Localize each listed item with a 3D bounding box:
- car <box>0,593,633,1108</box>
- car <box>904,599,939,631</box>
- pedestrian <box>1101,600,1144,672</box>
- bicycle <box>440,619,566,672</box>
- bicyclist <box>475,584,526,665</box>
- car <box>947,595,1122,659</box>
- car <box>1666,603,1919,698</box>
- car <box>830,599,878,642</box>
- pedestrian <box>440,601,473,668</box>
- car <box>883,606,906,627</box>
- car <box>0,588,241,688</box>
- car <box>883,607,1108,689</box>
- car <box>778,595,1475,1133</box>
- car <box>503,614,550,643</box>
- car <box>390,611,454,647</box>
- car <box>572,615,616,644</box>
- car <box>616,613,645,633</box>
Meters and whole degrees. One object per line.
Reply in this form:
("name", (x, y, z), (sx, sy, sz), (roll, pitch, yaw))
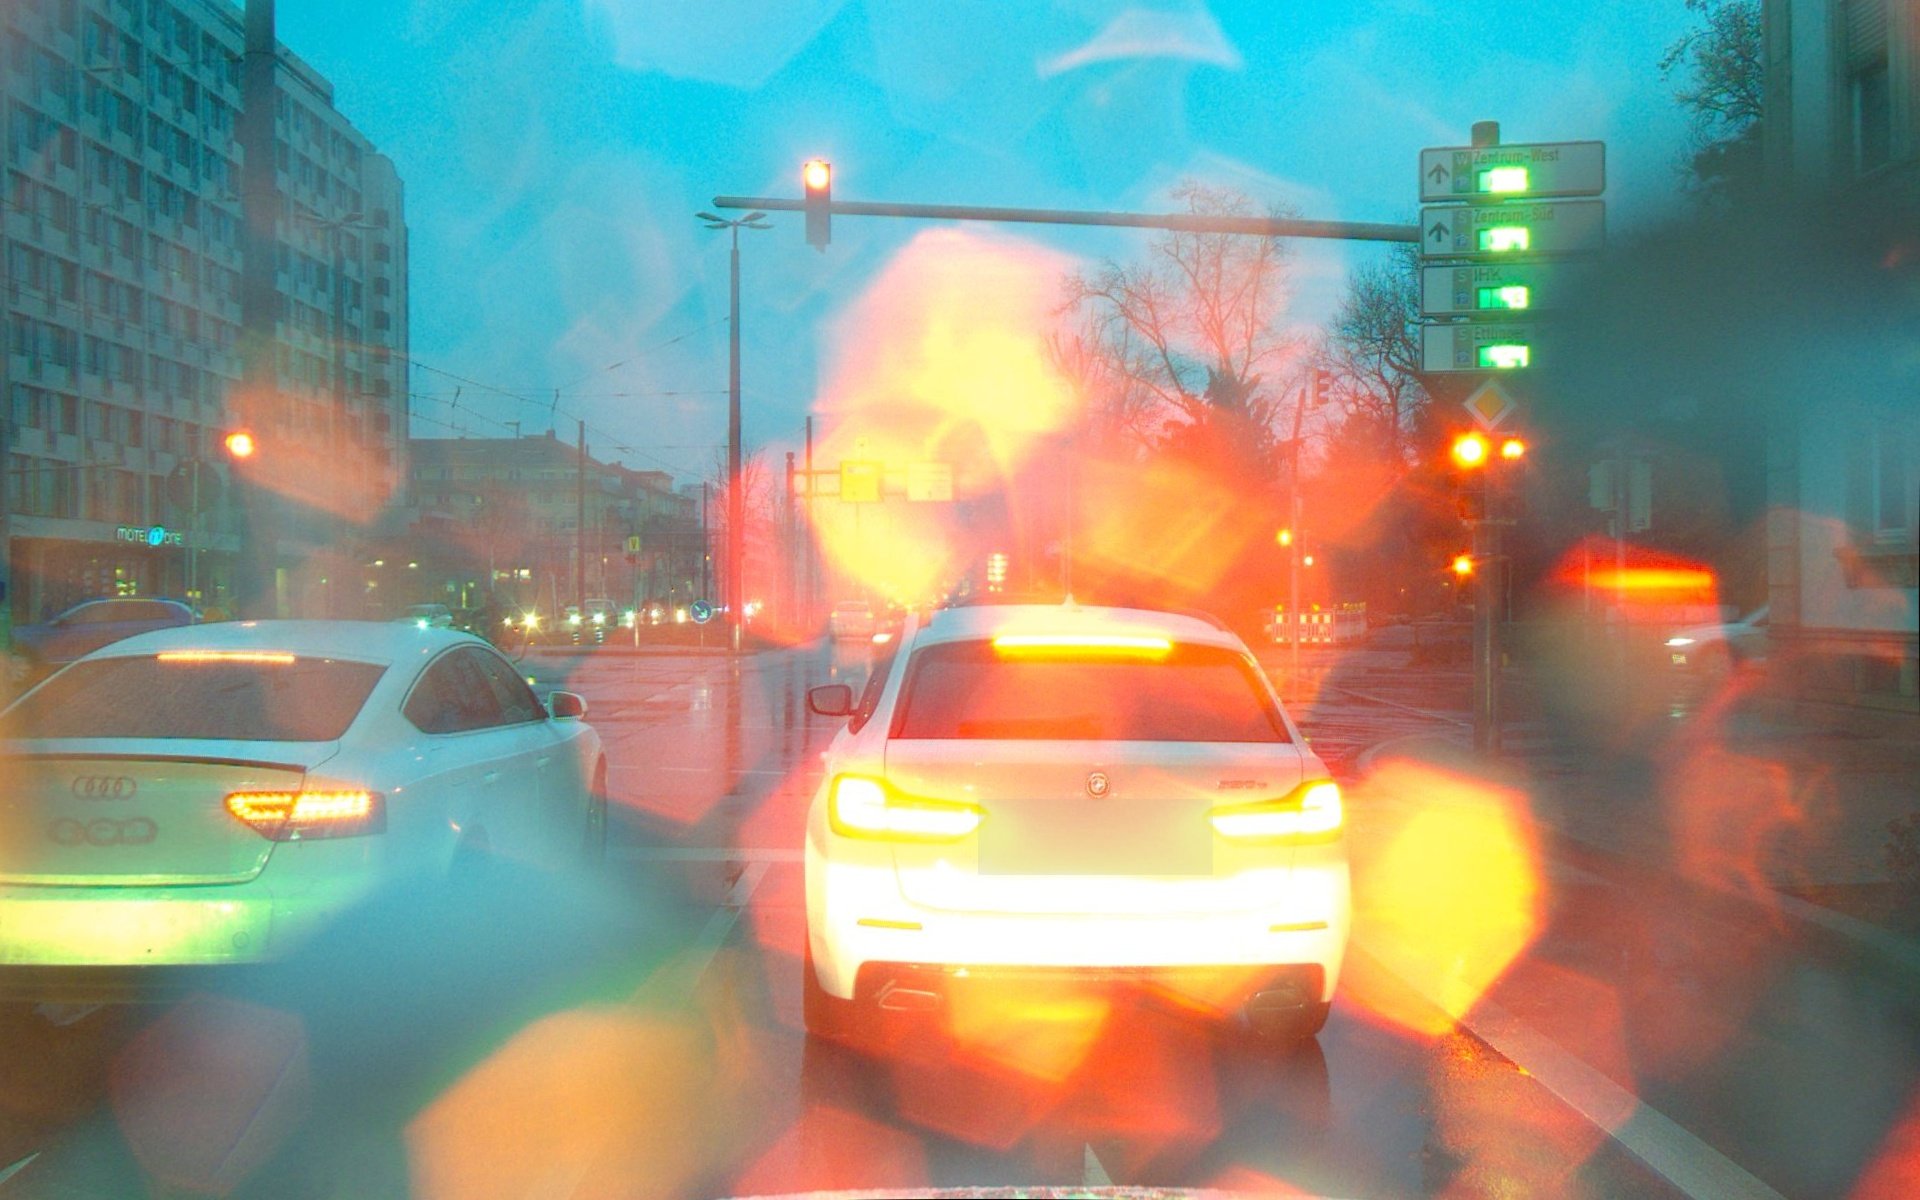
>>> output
("car", (-2.704, 0.720, 6.975), (1.954, 1.481, 4.366), (0, 0, -3))
("car", (-2.122, 0.832, 90.114), (1.806, 1.637, 3.943), (1, -1, -2))
("pedestrian", (4.341, 0.960, 44.177), (0.884, 1.888, 0.812), (1, -1, 23))
("bicycle", (-10.329, 1.029, 37.488), (2.616, 1.108, 0.814), (2, -1, -7))
("bicyclist", (-10.413, 0.555, 37.490), (0.954, 1.789, 0.812), (2, -1, -7))
("car", (1.749, 0.634, 39.437), (3.927, 1.426, 1.747), (1, -1, 41))
("car", (14.455, 0.848, 28.638), (4.008, 1.556, 1.840), (0, -1, 21))
("car", (-4.108, 0.786, 63.714), (1.710, 1.581, 3.963), (1, -1, -5))
("pedestrian", (-13.418, 0.916, 44.120), (0.777, 1.741, 0.809), (2, -1, -16))
("car", (-5.294, 1.325, 133.753), (1.806, 1.637, 3.943), (1, -1, -2))
("car", (-14.996, 0.666, 29.281), (3.924, 1.651, 1.711), (2, -1, -17))
("car", (0.714, 0.897, 31.400), (4.005, 1.466, 1.841), (0, -1, 11))
("car", (0.378, 0.728, 6.803), (1.954, 1.481, 4.366), (0, 0, -3))
("car", (-24.153, 1.562, 92.254), (1.641, 1.534, 3.695), (1, -1, -1))
("car", (-23.991, 1.279, 73.838), (1.641, 1.534, 3.695), (1, -1, -1))
("car", (-20.625, 1.670, 93.330), (1.641, 1.534, 3.695), (1, -1, -1))
("car", (-26.967, 1.864, 135.419), (1.641, 1.534, 3.695), (1, -1, -1))
